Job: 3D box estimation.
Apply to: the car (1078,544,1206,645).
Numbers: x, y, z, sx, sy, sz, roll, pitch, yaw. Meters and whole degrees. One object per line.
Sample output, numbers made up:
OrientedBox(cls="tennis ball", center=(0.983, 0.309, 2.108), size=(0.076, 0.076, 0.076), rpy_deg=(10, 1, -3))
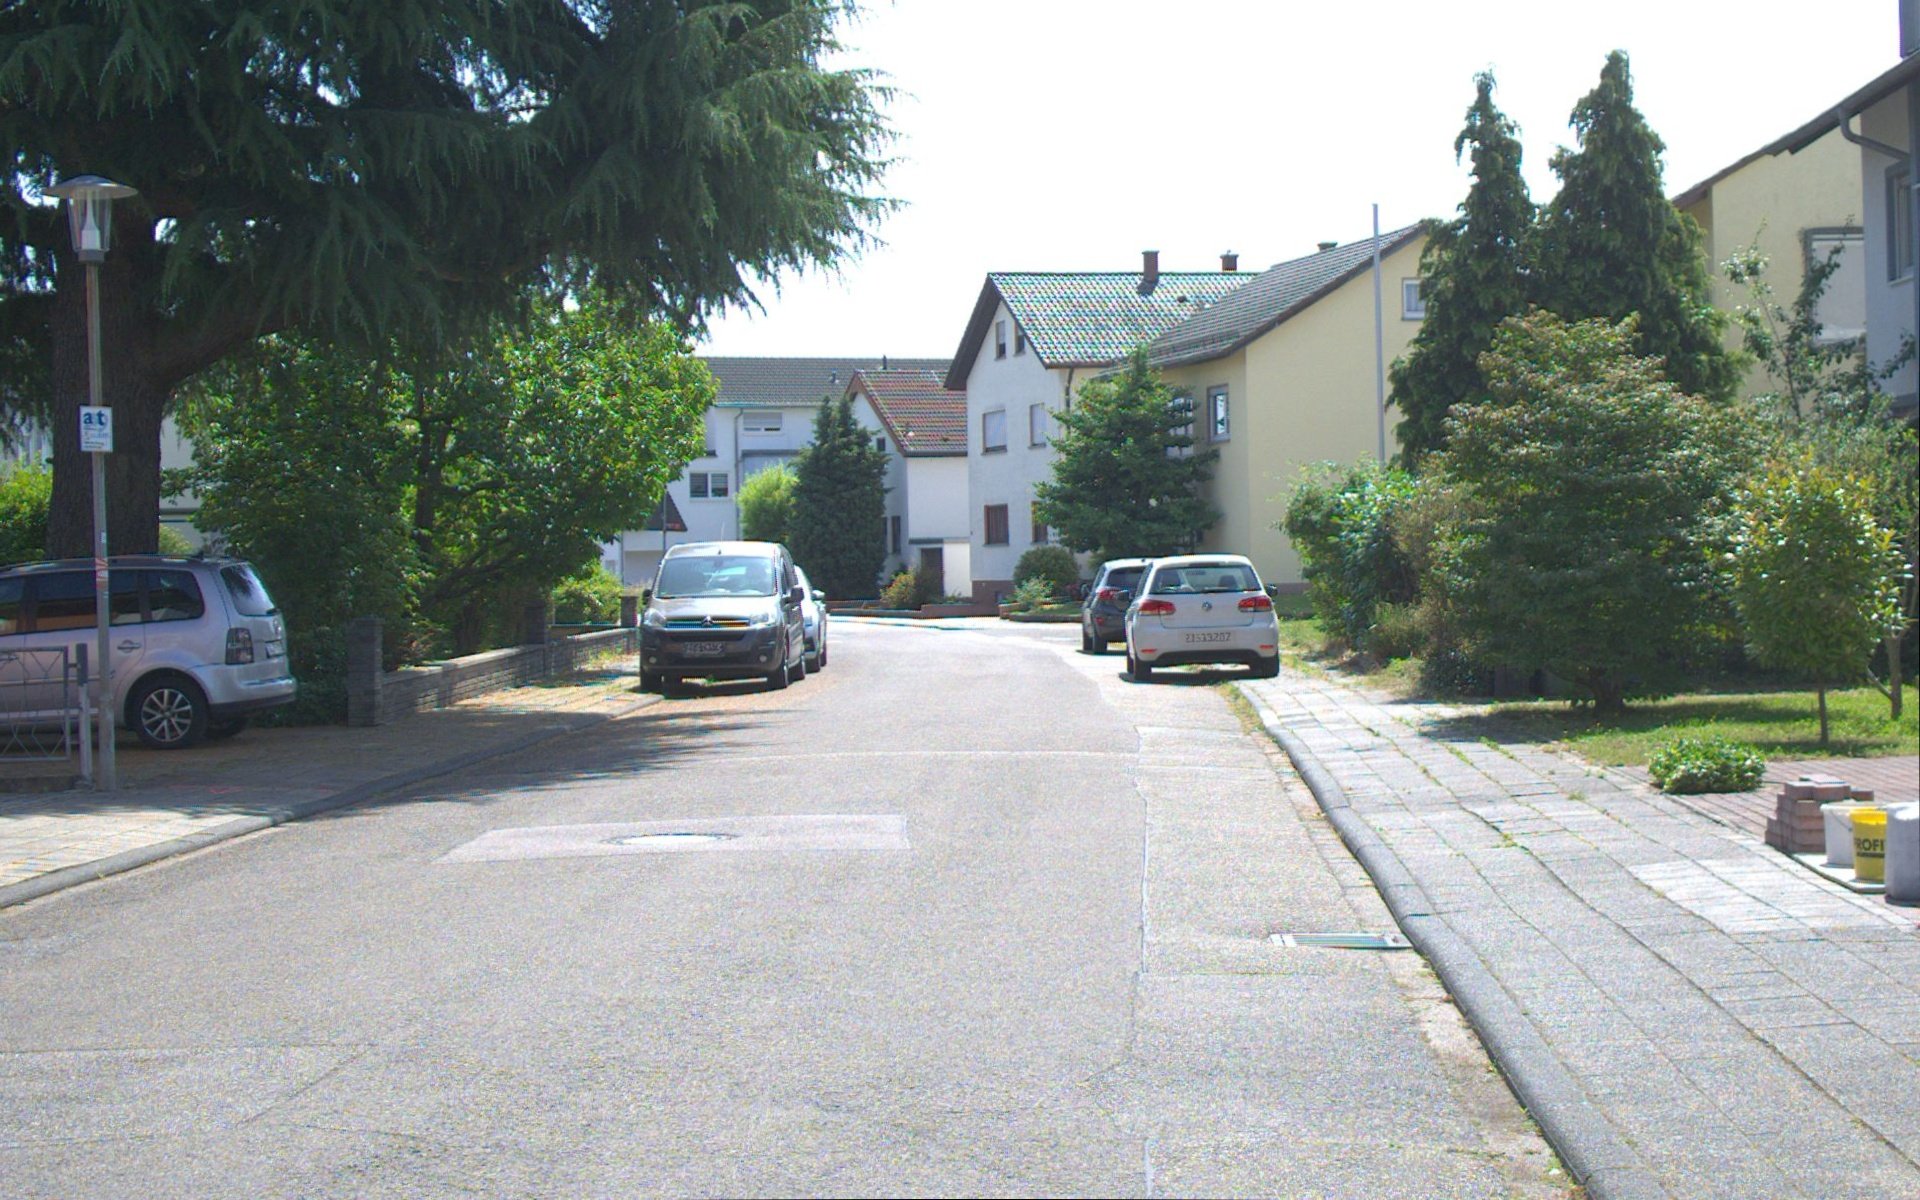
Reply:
OrientedBox(cls="car", center=(2.858, -0.117, 54.759), size=(1.808, 1.490, 4.000), rpy_deg=(-1, 1, 0))

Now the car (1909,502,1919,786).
OrientedBox(cls="car", center=(6.946, 0.180, 17.191), size=(3.914, 1.504, 1.774), rpy_deg=(-2, 1, 4))

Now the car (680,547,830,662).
OrientedBox(cls="car", center=(-2.831, 0.023, 48.181), size=(1.808, 1.490, 4.000), rpy_deg=(-1, 1, 0))

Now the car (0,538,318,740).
OrientedBox(cls="car", center=(-7.923, 0.339, 29.953), size=(4.193, 1.647, 1.814), rpy_deg=(-1, 1, 6))

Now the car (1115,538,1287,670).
OrientedBox(cls="car", center=(2.906, 0.014, 42.142), size=(1.808, 1.490, 4.000), rpy_deg=(-1, 1, 0))

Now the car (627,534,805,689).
OrientedBox(cls="car", center=(-2.921, 0.092, 41.957), size=(1.808, 1.757, 4.207), rpy_deg=(-1, 1, 0))
